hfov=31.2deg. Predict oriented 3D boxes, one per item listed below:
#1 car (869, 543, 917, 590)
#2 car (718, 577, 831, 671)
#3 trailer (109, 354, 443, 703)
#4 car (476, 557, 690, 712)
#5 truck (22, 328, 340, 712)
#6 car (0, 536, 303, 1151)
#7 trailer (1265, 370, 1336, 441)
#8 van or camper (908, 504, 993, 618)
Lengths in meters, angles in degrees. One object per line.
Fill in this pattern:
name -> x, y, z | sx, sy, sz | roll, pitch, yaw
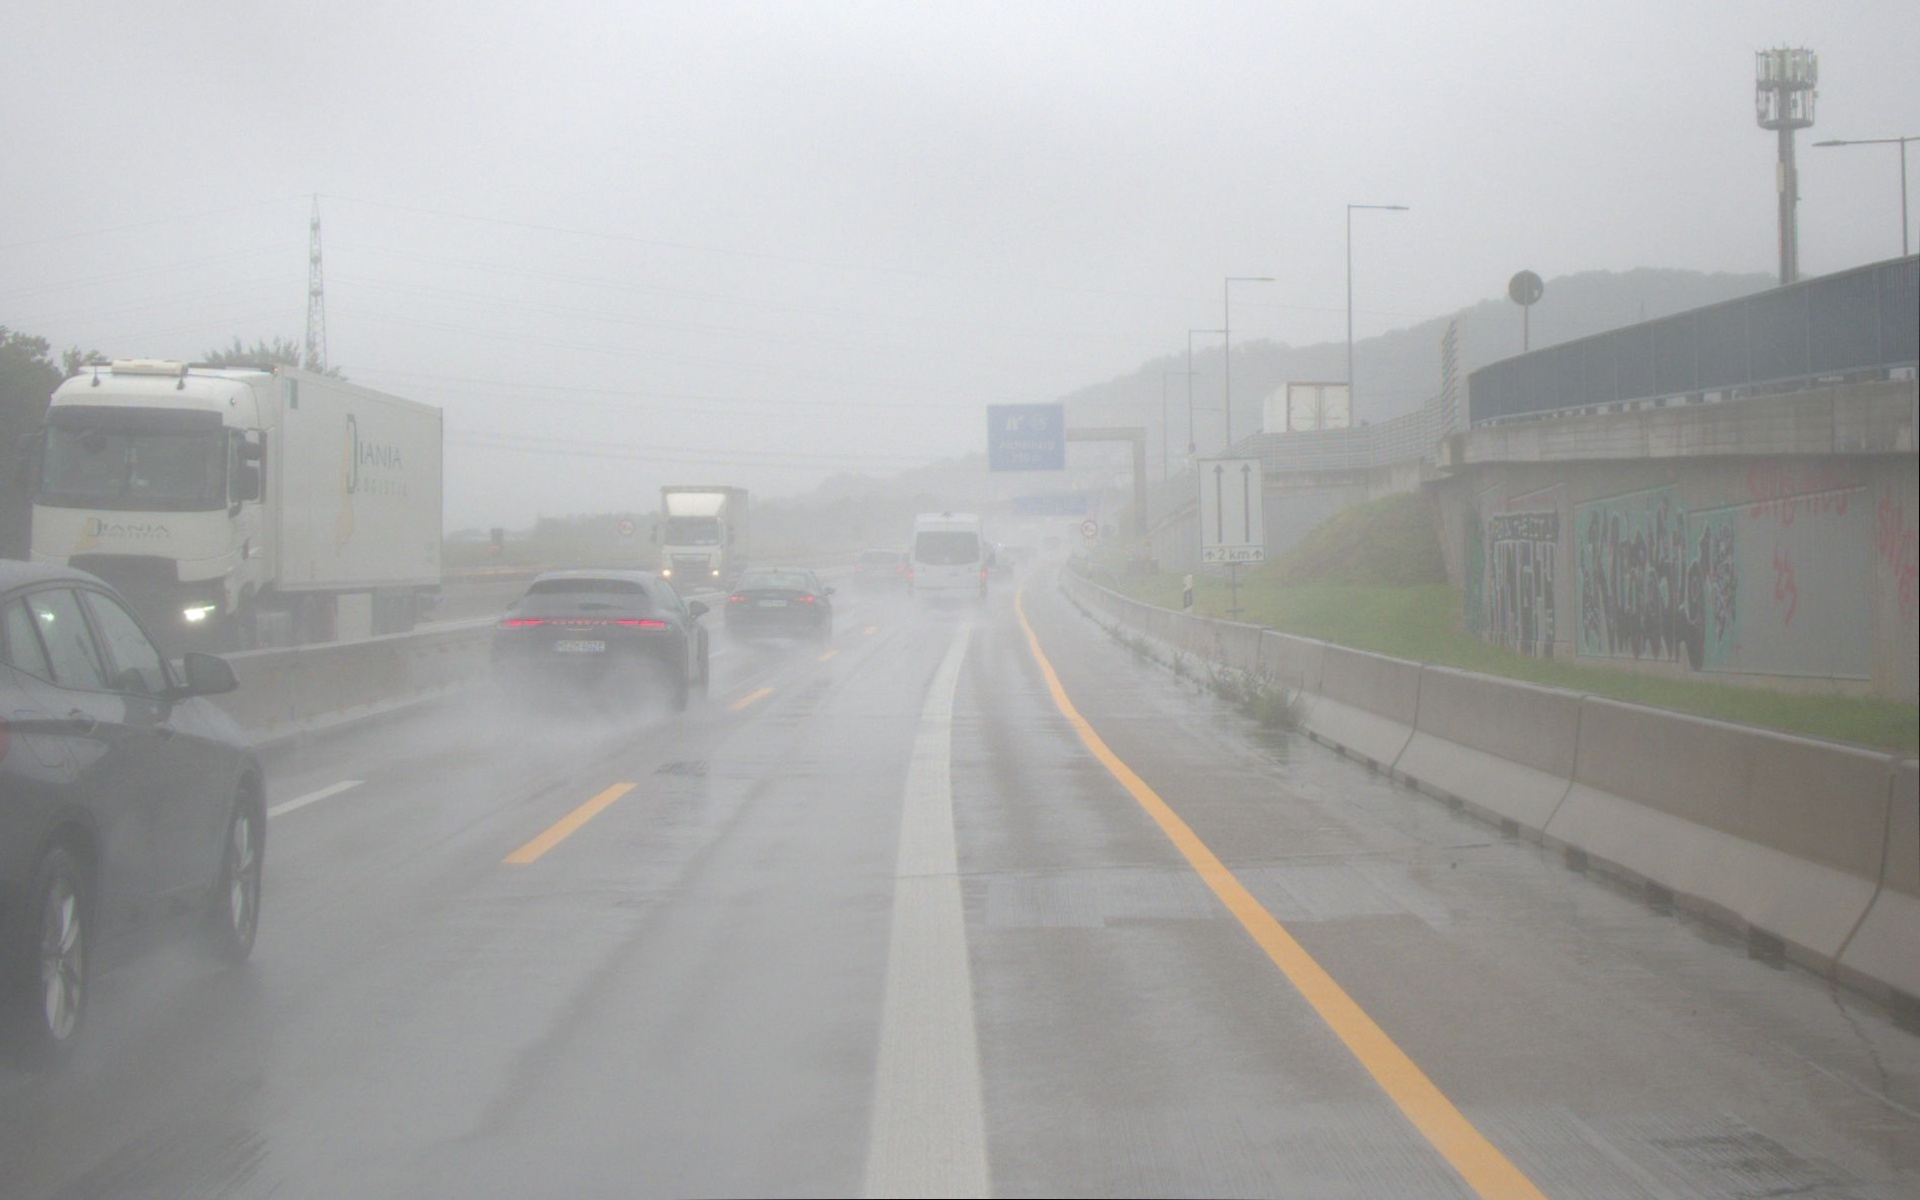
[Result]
car -> -2.277, -1.119, 116.622 | 1.566, 1.475, 2.822 | -2, 0, -2
car -> -3.277, 0.394, 61.373 | 1.844, 1.486, 4.262 | -2, 1, -2
trailer -> -9.916, -0.927, 51.339 | 2.547, 4.574, 12.009 | 1, 0, 0
car -> -3.832, 0.339, 35.563 | 1.844, 1.486, 4.262 | 1, 0, -2
truck -> -9.927, -0.956, 44.473 | 2.560, 4.588, 6.452 | 1, 0, 0
car -> -3.396, 0.630, 11.178 | 1.700, 1.592, 4.845 | 1, 0, -2
trailer -> 14.023, -7.962, 142.174 | 1.993, 2.099, 13.767 | 1, 0, 2
van or camper -> -0.263, -0.954, 85.917 | 1.996, 2.768, 4.050 | 1, 0, -2
